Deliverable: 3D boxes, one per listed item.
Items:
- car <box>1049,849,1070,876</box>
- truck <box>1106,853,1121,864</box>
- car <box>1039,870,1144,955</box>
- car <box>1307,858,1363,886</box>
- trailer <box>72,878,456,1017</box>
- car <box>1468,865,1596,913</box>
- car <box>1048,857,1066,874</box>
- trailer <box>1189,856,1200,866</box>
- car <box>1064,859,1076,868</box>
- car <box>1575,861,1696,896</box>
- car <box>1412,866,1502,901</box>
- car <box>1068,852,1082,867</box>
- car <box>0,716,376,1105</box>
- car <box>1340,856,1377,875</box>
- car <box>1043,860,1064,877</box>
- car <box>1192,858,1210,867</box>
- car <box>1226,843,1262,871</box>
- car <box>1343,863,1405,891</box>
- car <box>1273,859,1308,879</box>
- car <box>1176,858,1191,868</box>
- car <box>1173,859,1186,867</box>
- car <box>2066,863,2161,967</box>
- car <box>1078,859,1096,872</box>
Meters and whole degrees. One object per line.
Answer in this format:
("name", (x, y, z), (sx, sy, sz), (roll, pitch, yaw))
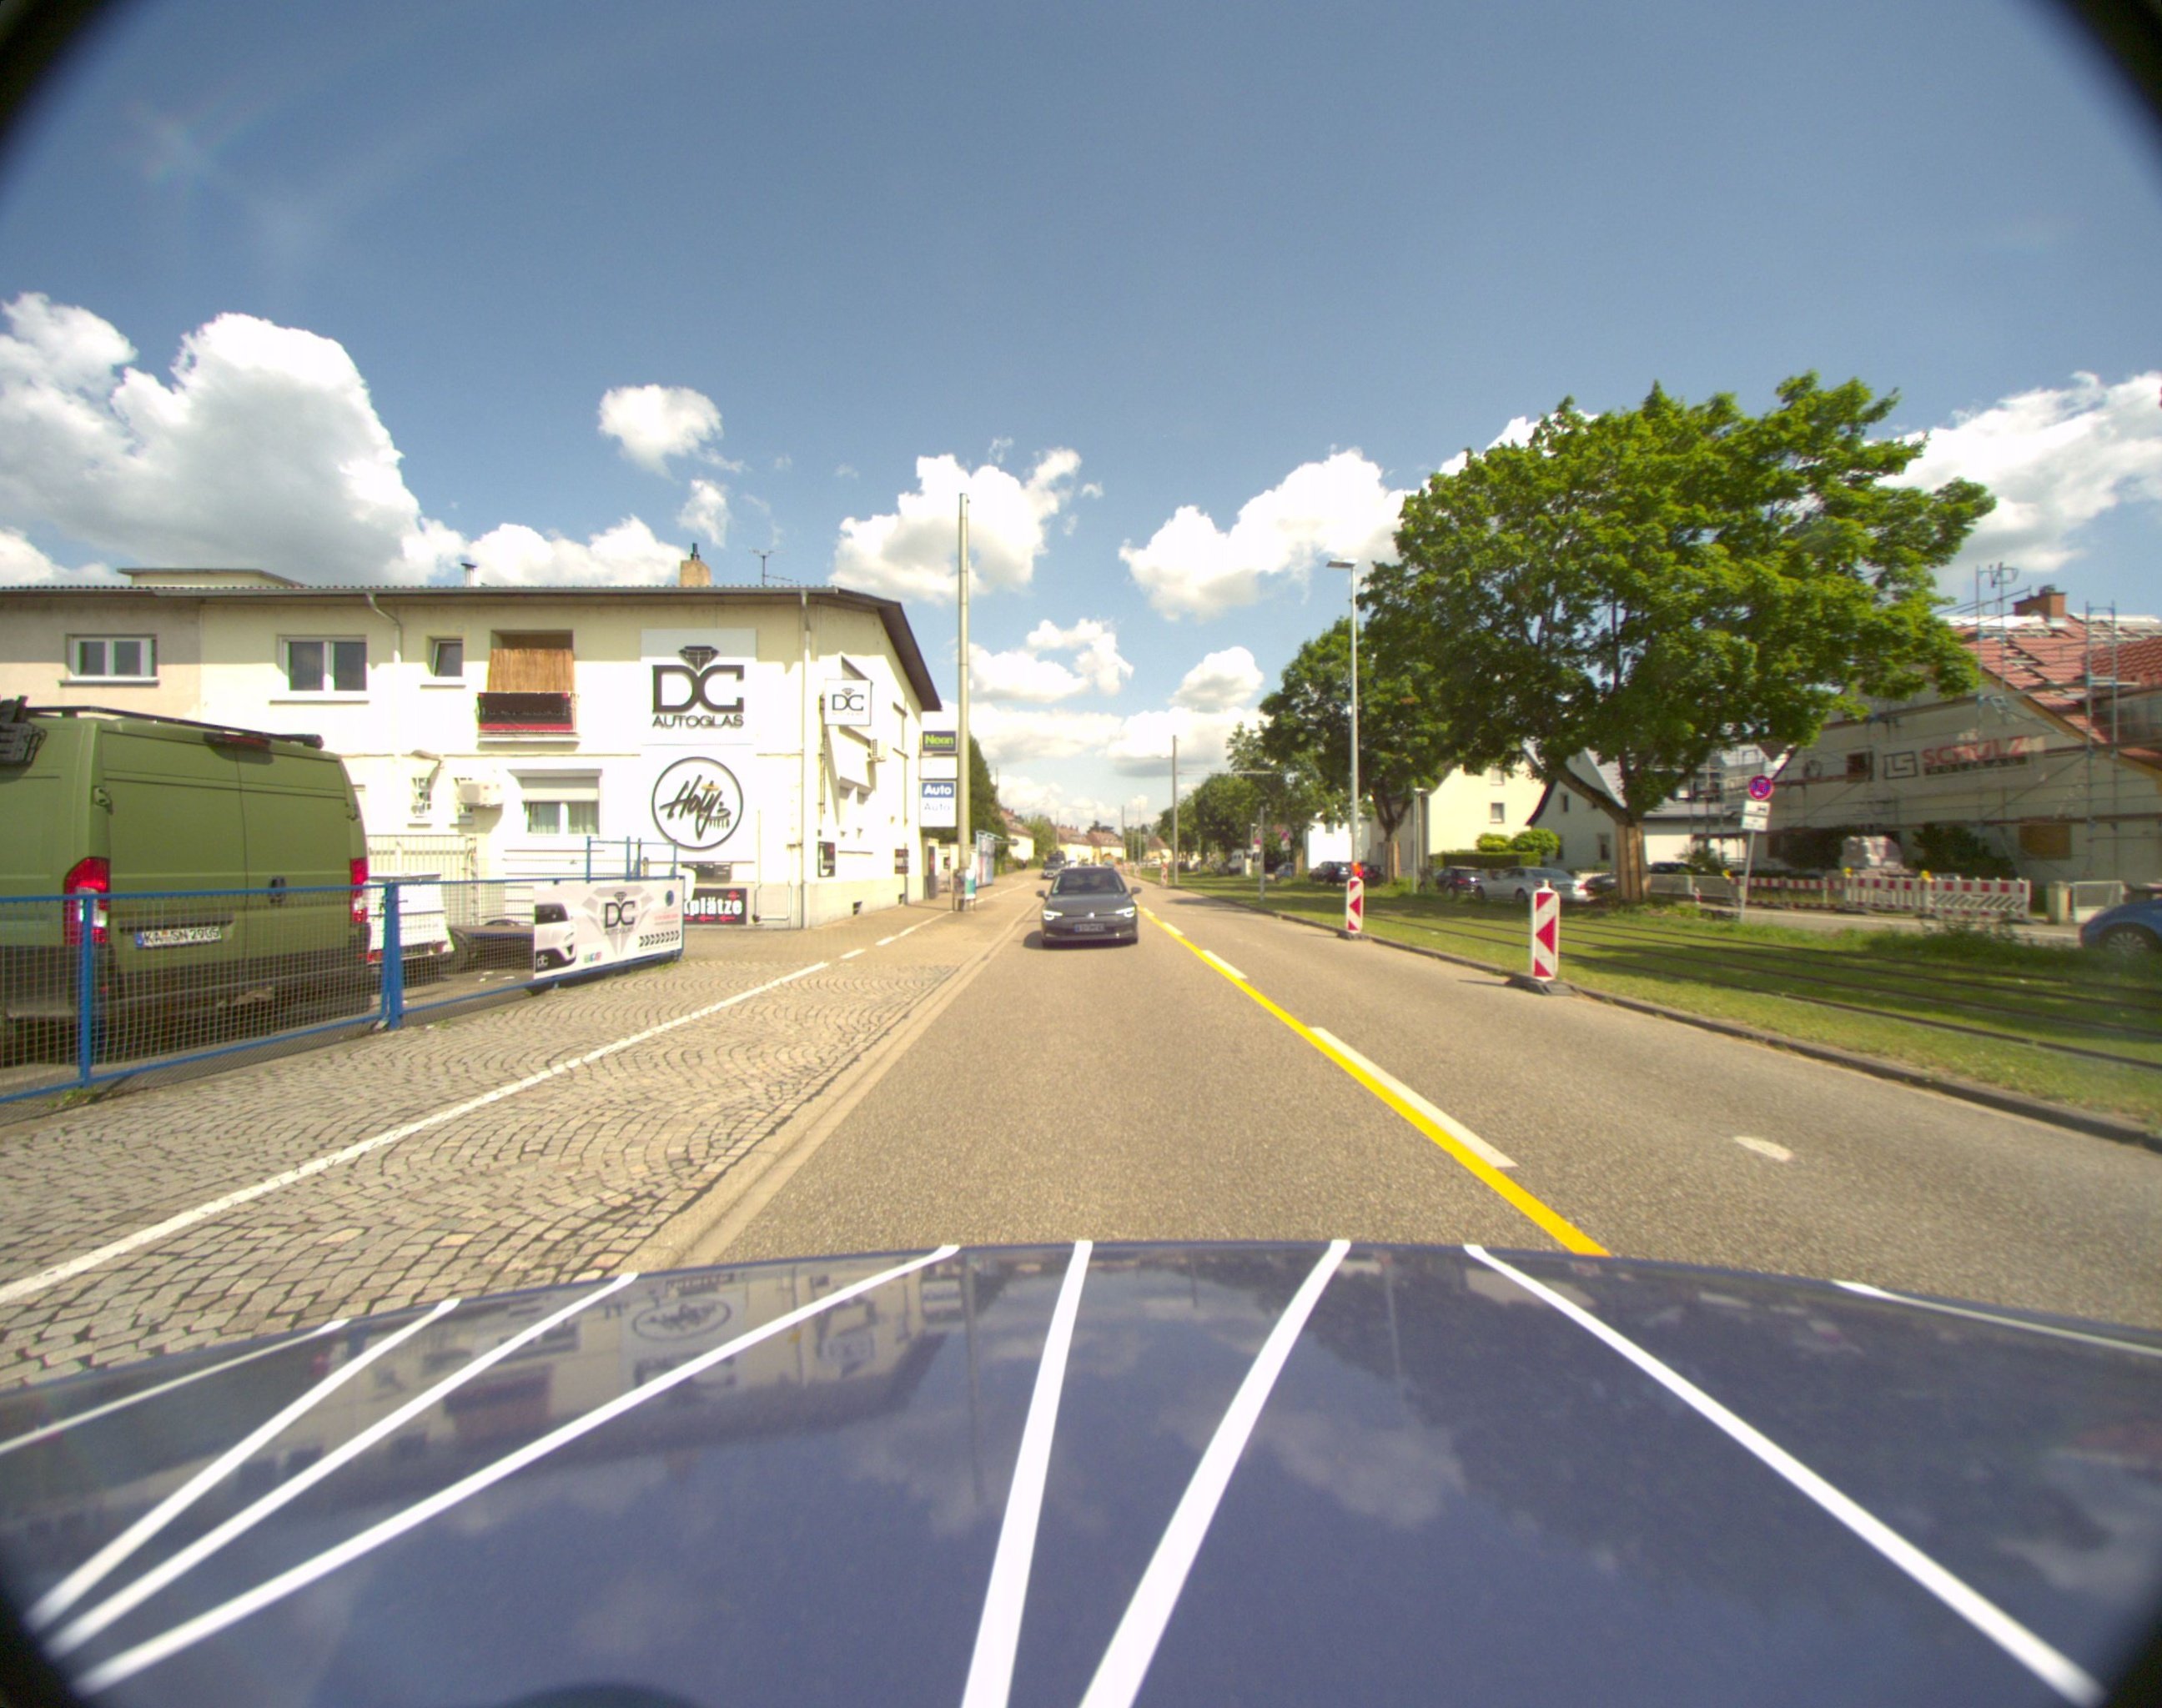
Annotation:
("car", (-2.258, 0.844, 80.405), (2.001, 2.744, 4.878), (1, 0, 0))
("truck", (8.581, 1.096, 199.692), (2.529, 2.931, 7.868), (1, 0, 13))
("car", (0.143, 1.058, 15.301), (1.786, 1.412, 4.290), (-2, -1, -1))
("car", (16.496, 1.133, 49.522), (1.999, 1.681, 4.390), (1, 0, -3))
("trailer", (-8.812, 0.968, 8.349), (2.789, 1.325, 1.302), (1, 0, -1))
("car", (16.369, 1.206, 27.932), (1.809, 1.474, 4.939), (1, 0, 1))
("car", (-2.344, 1.117, 74.499), (1.696, 1.507, 4.355), (1, 0, -2))
("trailer", (16.640, 1.020, 111.324), (1.302, 1.510, 2.282), (1, 0, 0))
("car", (-1.729, 1.501, 121.551), (1.756, 1.480, 4.628), (1, 0, 1))
("car", (24.917, 1.075, 34.229), (3.997, 1.393, 1.982), (-1, 1, 0))
("car", (16.337, 1.246, 33.228), (1.998, 1.310, 3.852), (3, 0, 0))
("car", (-1.035, 1.023, 134.899), (1.923, 2.522, 5.346), (1, 0, 5))
("car", (-8.957, 0.370, 6.150), (4.547, 2.558, 2.151), (0, 1, 2))
("car", (25.128, 1.023, 68.907), (1.907, 1.568, 4.000), (1, 0, 1))
("car", (-2.475, 1.320, 69.643), (1.655, 1.423, 4.096), (1, 0, 1))
("car", (16.719, 1.172, 106.024), (1.785, 1.087, 3.836), (1, 0, 0))
("car", (16.491, 0.347, 77.192), (1.999, 2.714, 6.462), (1, 0, -2))
("car", (16.729, 1.277, 43.606), (1.998, 1.430, 3.999), (2, 0, 0))
("car", (16.393, 1.131, 59.656), (1.758, 1.427, 3.889), (1, 0, 2))
("car", (17.135, 1.449, 126.836), (1.998, 1.530, 4.322), (1, 0, 1))
("car", (18.822, 1.709, 145.361), (1.998, 1.530, 4.323), (1, 0, 3))
("car", (16.315, 0.893, 9.787), (1.999, 1.444, 3.999), (1, 0, -1))
("car", (0.746, 1.335, 90.947), (1.999, 1.566, 3.999), (0, 0, -2))
